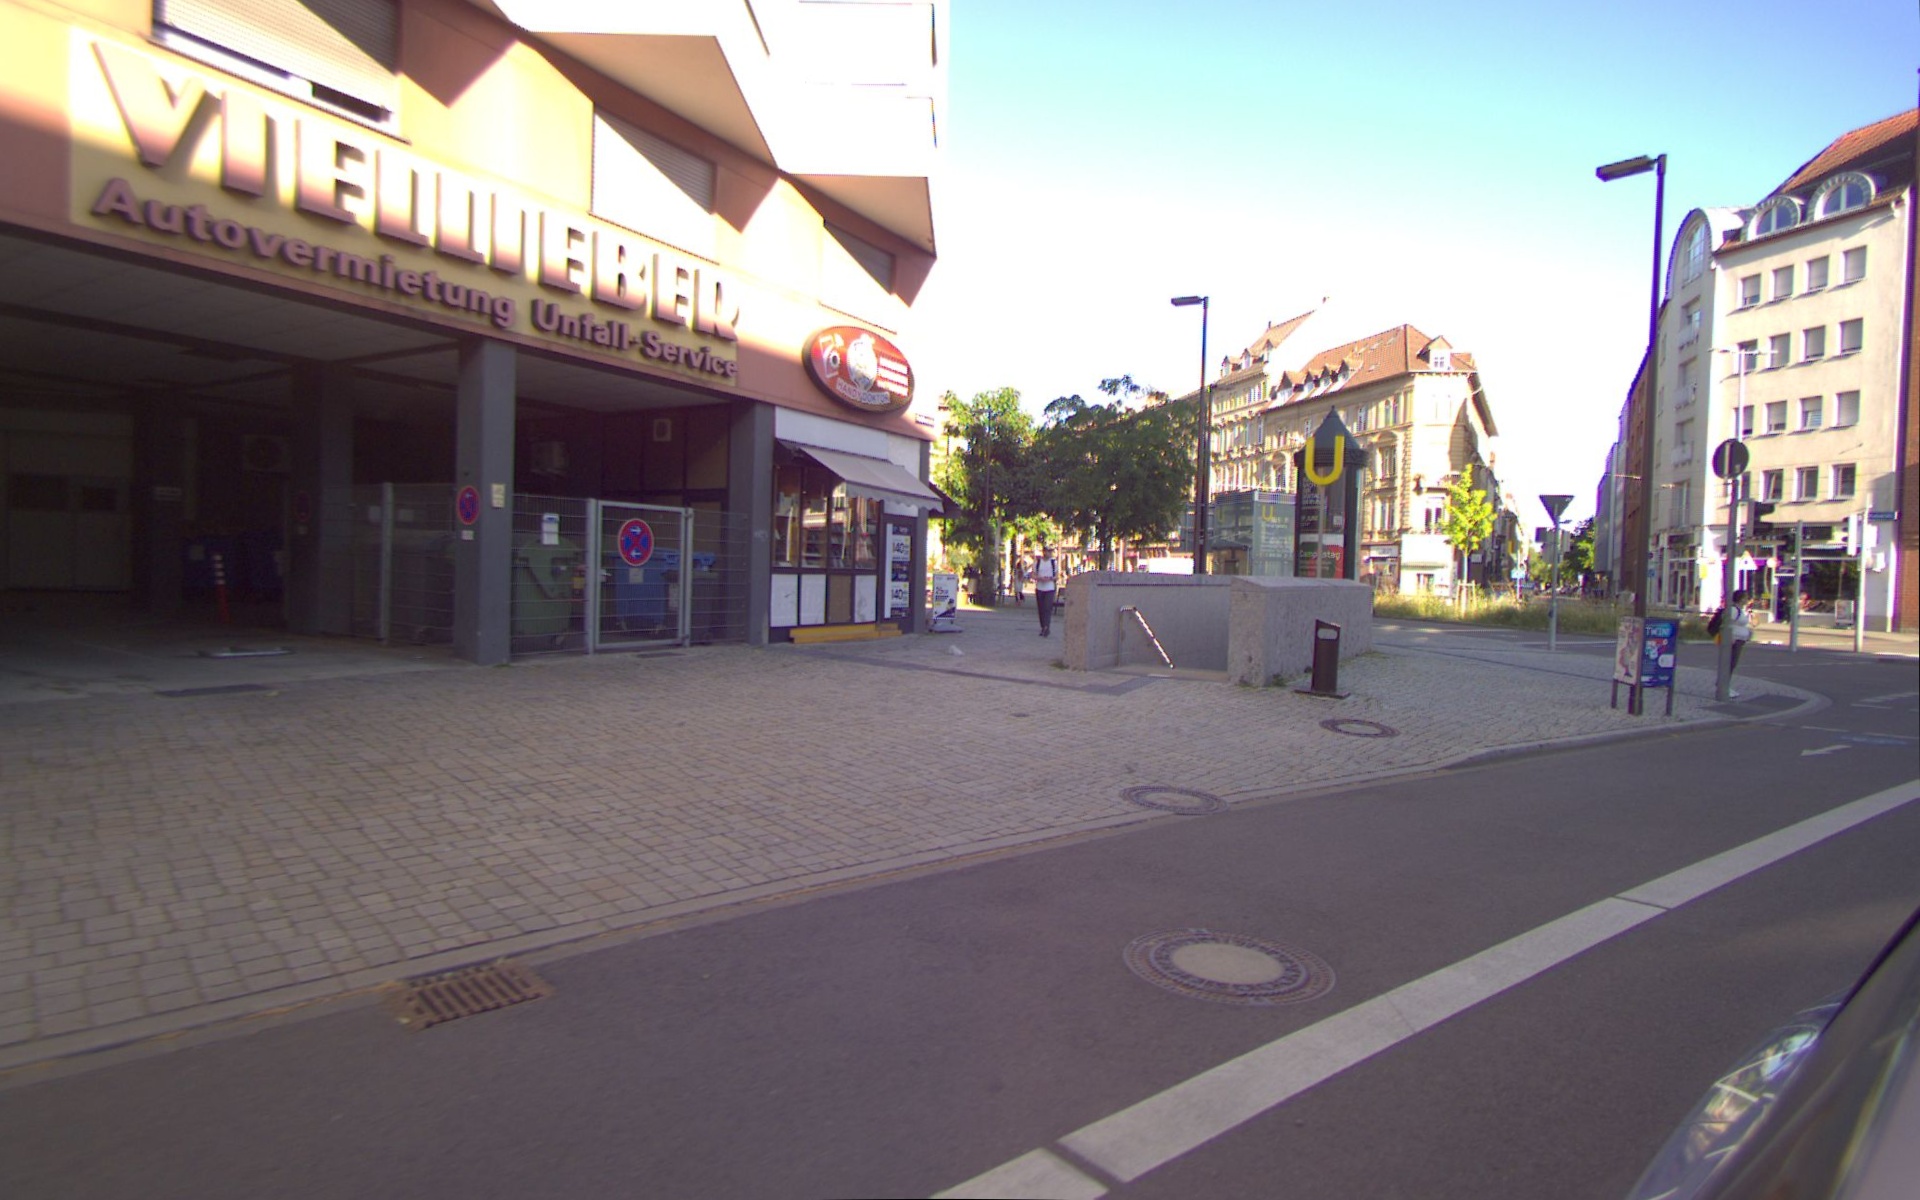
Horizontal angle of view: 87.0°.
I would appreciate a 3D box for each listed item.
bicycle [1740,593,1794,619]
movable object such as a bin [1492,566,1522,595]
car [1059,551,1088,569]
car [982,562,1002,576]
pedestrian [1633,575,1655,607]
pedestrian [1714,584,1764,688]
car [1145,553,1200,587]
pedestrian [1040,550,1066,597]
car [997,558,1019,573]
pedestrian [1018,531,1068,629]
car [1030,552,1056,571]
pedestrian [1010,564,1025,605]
[{"bbox_3d":[34.134,0.248,42.842,0.450,1.003,1.870,-1,2,-14],"label":"bicycle"},{"bbox_3d":[34.623,-1.246,64.066,1.634,1.806,1.389,0,0,27],"label":"movable object such as a bin"},{"bbox_3d":[13.520,-4.731,120.624,2.188,2.039,4.352,0,0,-12],"label":"car"},{"bbox_3d":[4.870,-4.702,154.587,2.188,2.039,4.352,0,0,-12],"label":"car"},{"bbox_3d":[36.980,-0.502,54.703,0.683,1.657,0.957,1,2,17],"label":"pedestrian"},{"bbox_3d":[12.422,0.555,16.150,0.537,1.603,0.550,2,2,33],"label":"pedestrian"},{"bbox_3d":[19.704,-2.805,94.069,2.232,3.059,5.378,-1,3,-23],"label":"car"},{"bbox_3d":[3.580,-1.030,39.001,0.703,1.767,0.684,0,2,-24],"label":"pedestrian"},{"bbox_3d":[6.923,-4.958,145.465,2.188,2.039,4.352,0,0,-12],"label":"car"},{"bbox_3d":[1.645,-0.413,20.111,0.673,1.889,1.047,1,2,-12],"label":"pedestrian"},{"bbox_3d":[10.835,-5.028,132.334,2.188,2.413,4.352,0,0,-12],"label":"car"},{"bbox_3d":[2.420,-0.642,42.514,0.496,1.691,0.477,1,2,-12],"label":"pedestrian"}]
